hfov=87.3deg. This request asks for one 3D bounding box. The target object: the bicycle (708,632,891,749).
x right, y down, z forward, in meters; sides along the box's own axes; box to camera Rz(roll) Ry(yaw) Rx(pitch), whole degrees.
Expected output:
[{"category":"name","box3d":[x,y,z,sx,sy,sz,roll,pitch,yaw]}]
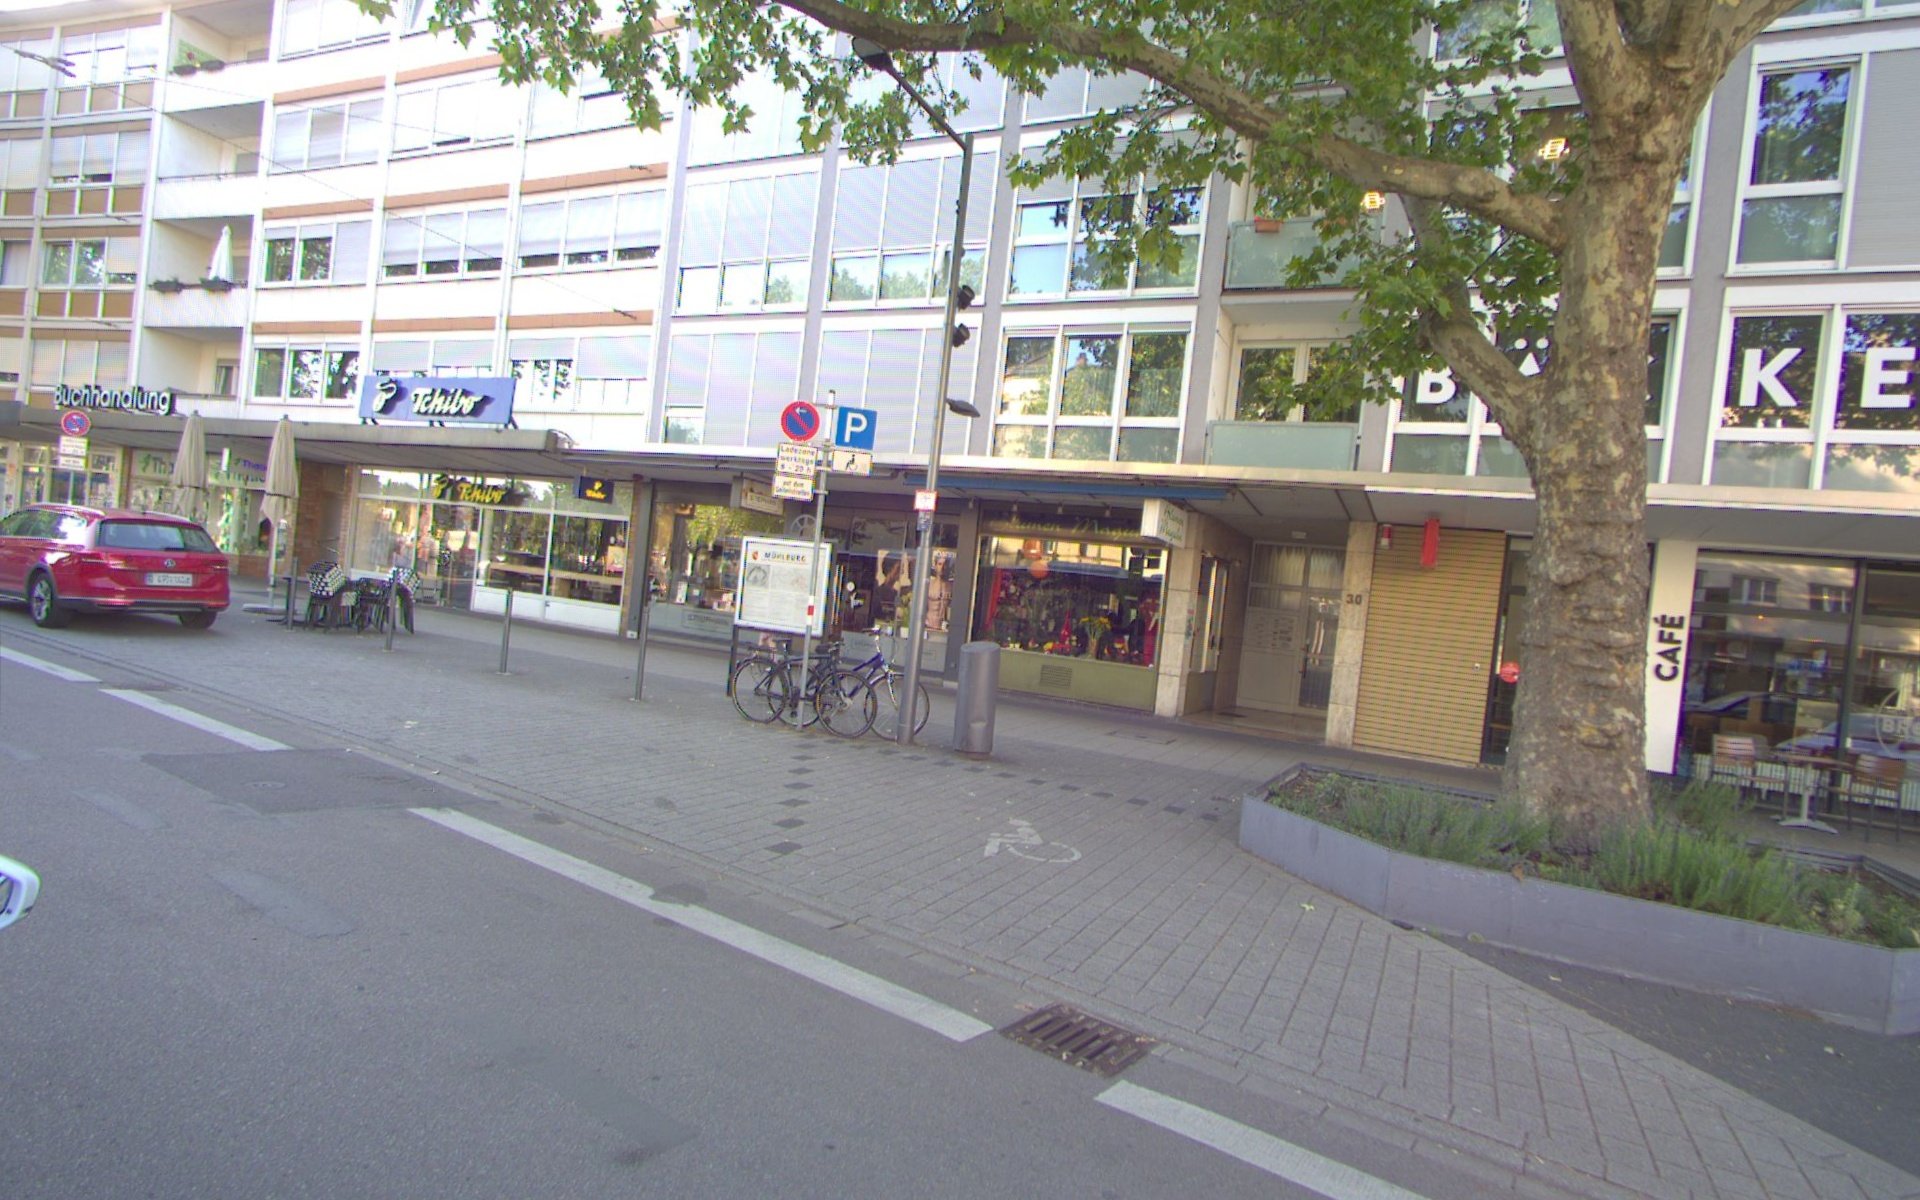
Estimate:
[{"category":"bicycle","box3d":[-1.632,0.901,10.233,1.743,0.951,0.391,6,2,12]}]

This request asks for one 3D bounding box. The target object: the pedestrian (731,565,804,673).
[{"category":"pedestrian","box3d":[-3.062,0.304,16.017,0.776,1.613,0.651,7,2,26]}]

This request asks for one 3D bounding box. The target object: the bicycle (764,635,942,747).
[{"category":"bicycle","box3d":[-1.124,0.935,10.549,1.743,0.931,0.391,6,2,12]}]

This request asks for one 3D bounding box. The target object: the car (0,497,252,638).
[{"category":"car","box3d":[-11.634,-0.491,13.449,4.229,1.502,1.772,6,1,28]}]
